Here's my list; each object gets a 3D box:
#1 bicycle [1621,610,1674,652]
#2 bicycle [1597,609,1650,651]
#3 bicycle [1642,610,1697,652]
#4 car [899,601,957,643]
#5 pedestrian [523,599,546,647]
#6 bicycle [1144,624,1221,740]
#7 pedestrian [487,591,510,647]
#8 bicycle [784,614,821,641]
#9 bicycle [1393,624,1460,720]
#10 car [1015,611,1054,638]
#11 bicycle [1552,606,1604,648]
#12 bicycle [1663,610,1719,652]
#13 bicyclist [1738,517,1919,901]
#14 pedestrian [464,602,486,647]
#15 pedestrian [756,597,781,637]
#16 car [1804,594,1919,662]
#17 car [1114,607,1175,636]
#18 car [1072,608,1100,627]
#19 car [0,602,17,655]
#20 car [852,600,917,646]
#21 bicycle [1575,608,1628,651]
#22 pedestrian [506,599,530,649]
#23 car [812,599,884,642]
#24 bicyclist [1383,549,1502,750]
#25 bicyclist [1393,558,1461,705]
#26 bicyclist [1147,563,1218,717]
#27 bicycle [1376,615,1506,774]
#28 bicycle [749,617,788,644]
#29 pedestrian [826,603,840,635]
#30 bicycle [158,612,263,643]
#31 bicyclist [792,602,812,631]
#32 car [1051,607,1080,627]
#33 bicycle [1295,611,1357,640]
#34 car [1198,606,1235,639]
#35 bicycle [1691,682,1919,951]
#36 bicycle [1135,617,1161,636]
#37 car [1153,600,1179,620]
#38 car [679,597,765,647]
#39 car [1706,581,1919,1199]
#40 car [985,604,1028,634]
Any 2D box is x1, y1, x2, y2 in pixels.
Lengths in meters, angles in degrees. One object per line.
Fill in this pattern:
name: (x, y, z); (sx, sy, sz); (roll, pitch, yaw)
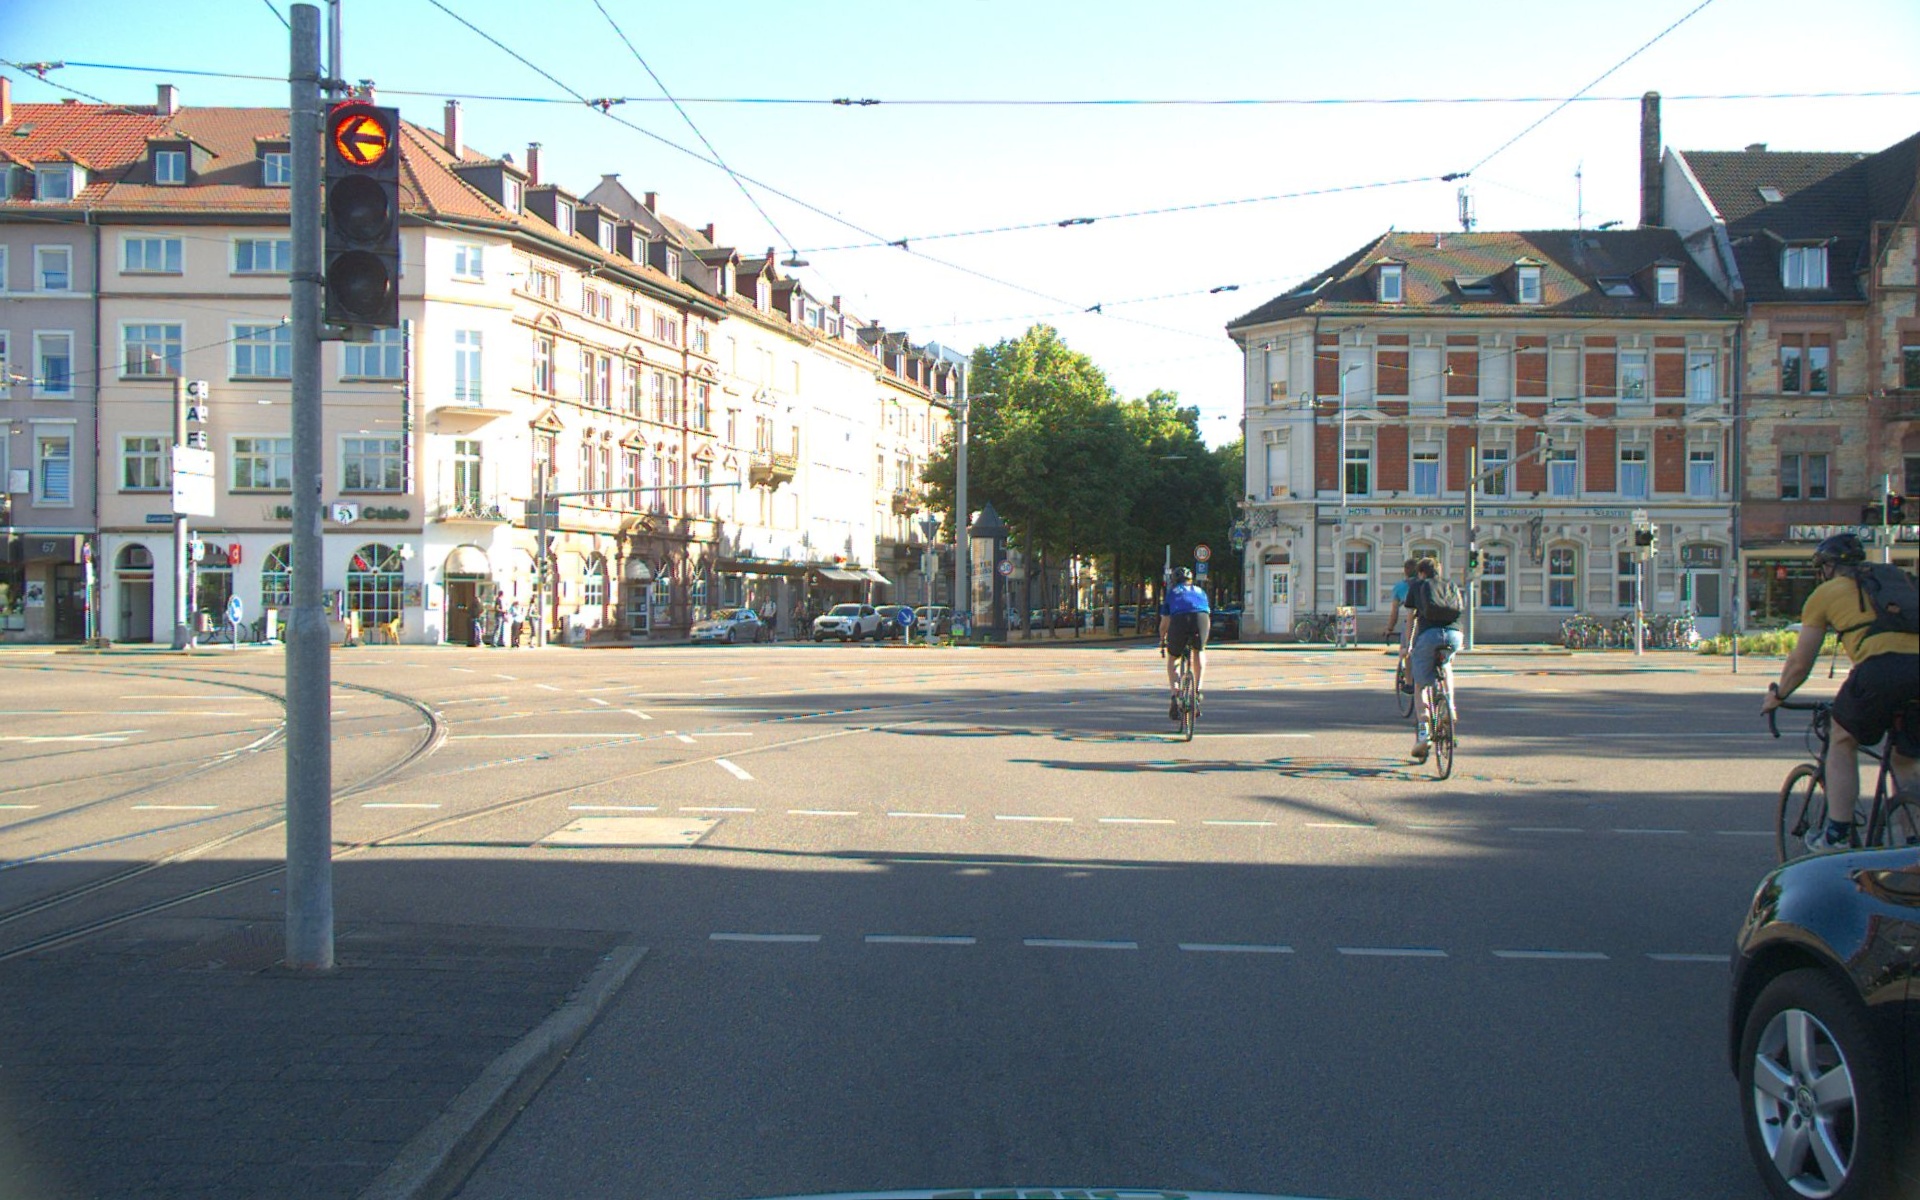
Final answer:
bicycle: (22.080, 0.968, 53.150); (0.615, 1.309, 2.661); (1, 0, 0)
bicycle: (21.303, 0.936, 53.147); (0.615, 1.309, 2.661); (1, 0, 0)
bicycle: (22.795, 0.969, 53.174); (0.615, 1.309, 2.661); (1, 0, 0)
car: (-1.517, 1.066, 79.763); (1.951, 1.937, 4.003); (1, 0, 11)
pedestrian: (-14.667, 0.787, 57.005); (0.620, 1.662, 0.700); (1, -1, -4)
bicycle: (2.272, 0.812, 17.027); (0.613, 1.104, 1.703); (1, 0, 2)
pedestrian: (-15.871, 0.644, 56.875); (0.620, 1.914, 0.465); (1, -1, -5)
bicycle: (-6.701, 1.164, 70.567); (0.637, 1.142, 2.253); (1, 0, 20)
bicycle: (5.432, 0.812, 19.324); (0.635, 1.049, 1.772); (1, 0, 12)
car: (5.550, 1.771, 122.744); (1.951, 1.937, 4.002); (1, 0, 16)
bicycle: (19.853, 0.847, 53.151); (0.678, 1.309, 2.661); (1, 0, 0)
bicycle: (23.479, 0.991, 53.173); (0.615, 1.309, 2.661); (1, 0, 0)
bicyclist: (4.259, 0.487, 7.753); (0.789, 1.692, 0.883); (1, -1, -1)
pedestrian: (-16.392, 0.833, 55.899); (0.620, 1.502, 0.465); (1, -1, -5)
pedestrian: (-7.545, 0.665, 65.087); (0.803, 1.539, 0.598); (1, -1, 14)
car: (25.863, 0.786, 46.047); (3.706, 1.809, 1.999); (1, 0, -2)
car: (12.849, 1.462, 115.151); (3.902, 1.937, 2.001); (1, 0, 15)
car: (10.389, 1.436, 136.185); (1.526, 1.540, 3.658); (1, 0, 16)
car: (-32.390, 0.911, 52.430); (3.902, 1.699, 2.002); (0, 0, 8)
car: (-3.321, 1.009, 73.529); (1.951, 1.937, 4.003); (1, 0, 11)
bicycle: (20.592, 0.932, 53.126); (0.678, 1.309, 2.661); (1, 0, 0)
pedestrian: (-14.865, 0.807, 55.671); (0.620, 1.662, 0.700); (1, -1, -4)
car: (-4.516, 0.828, 67.365); (1.951, 1.646, 4.003); (1, 0, 11)
bicyclist: (4.082, 0.409, 14.037); (0.789, 1.634, 0.884); (1, -1, 5)
bicyclist: (5.424, 0.356, 19.230); (0.675, 1.662, 0.884); (1, -1, 11)
bicyclist: (2.274, 0.389, 16.972); (0.625, 1.520, 0.884); (1, 1, 3)
bicycle: (4.088, 0.769, 14.177); (0.739, 1.258, 1.704); (1, 0, 5)
bicycle: (-7.533, 1.204, 65.158); (0.746, 1.025, 2.398); (1, 0, 13)
pedestrian: (-6.641, 1.003, 86.354); (0.532, 1.660, 0.707); (1, -1, 13)
bicycle: (-25.520, 0.940, 56.351); (3.066, 0.997, 1.001); (1, 0, -1)
bicyclist: (-6.731, 0.698, 70.460); (0.618, 1.205, 0.685); (1, -1, 20)
car: (8.447, 1.341, 132.037); (1.526, 1.540, 3.658); (1, 0, 16)
bicycle: (12.661, 0.874, 57.260); (2.006, 1.015, 0.631); (0, -1, 2)
car: (12.865, 1.124, 82.775); (1.655, 1.592, 3.844); (1, 0, 11)
bicycle: (4.248, 0.964, 7.879); (0.739, 1.049, 1.780); (1, 0, 0)
bicycle: (11.279, 1.569, 99.222); (0.619, 1.104, 1.685); (1, 0, -31)
car: (16.815, 0.833, 134.938); (1.526, 1.540, 3.658); (1, 0, 16)
car: (-9.589, 0.874, 66.982); (1.951, 1.937, 4.002); (1, 0, 17)
car: (3.022, 0.791, 2.714); (1.693, 1.534, 4.050); (1, 2, -1)
car: (3.179, 1.286, 112.736); (1.951, 1.937, 4.002); (1, 0, 16)
